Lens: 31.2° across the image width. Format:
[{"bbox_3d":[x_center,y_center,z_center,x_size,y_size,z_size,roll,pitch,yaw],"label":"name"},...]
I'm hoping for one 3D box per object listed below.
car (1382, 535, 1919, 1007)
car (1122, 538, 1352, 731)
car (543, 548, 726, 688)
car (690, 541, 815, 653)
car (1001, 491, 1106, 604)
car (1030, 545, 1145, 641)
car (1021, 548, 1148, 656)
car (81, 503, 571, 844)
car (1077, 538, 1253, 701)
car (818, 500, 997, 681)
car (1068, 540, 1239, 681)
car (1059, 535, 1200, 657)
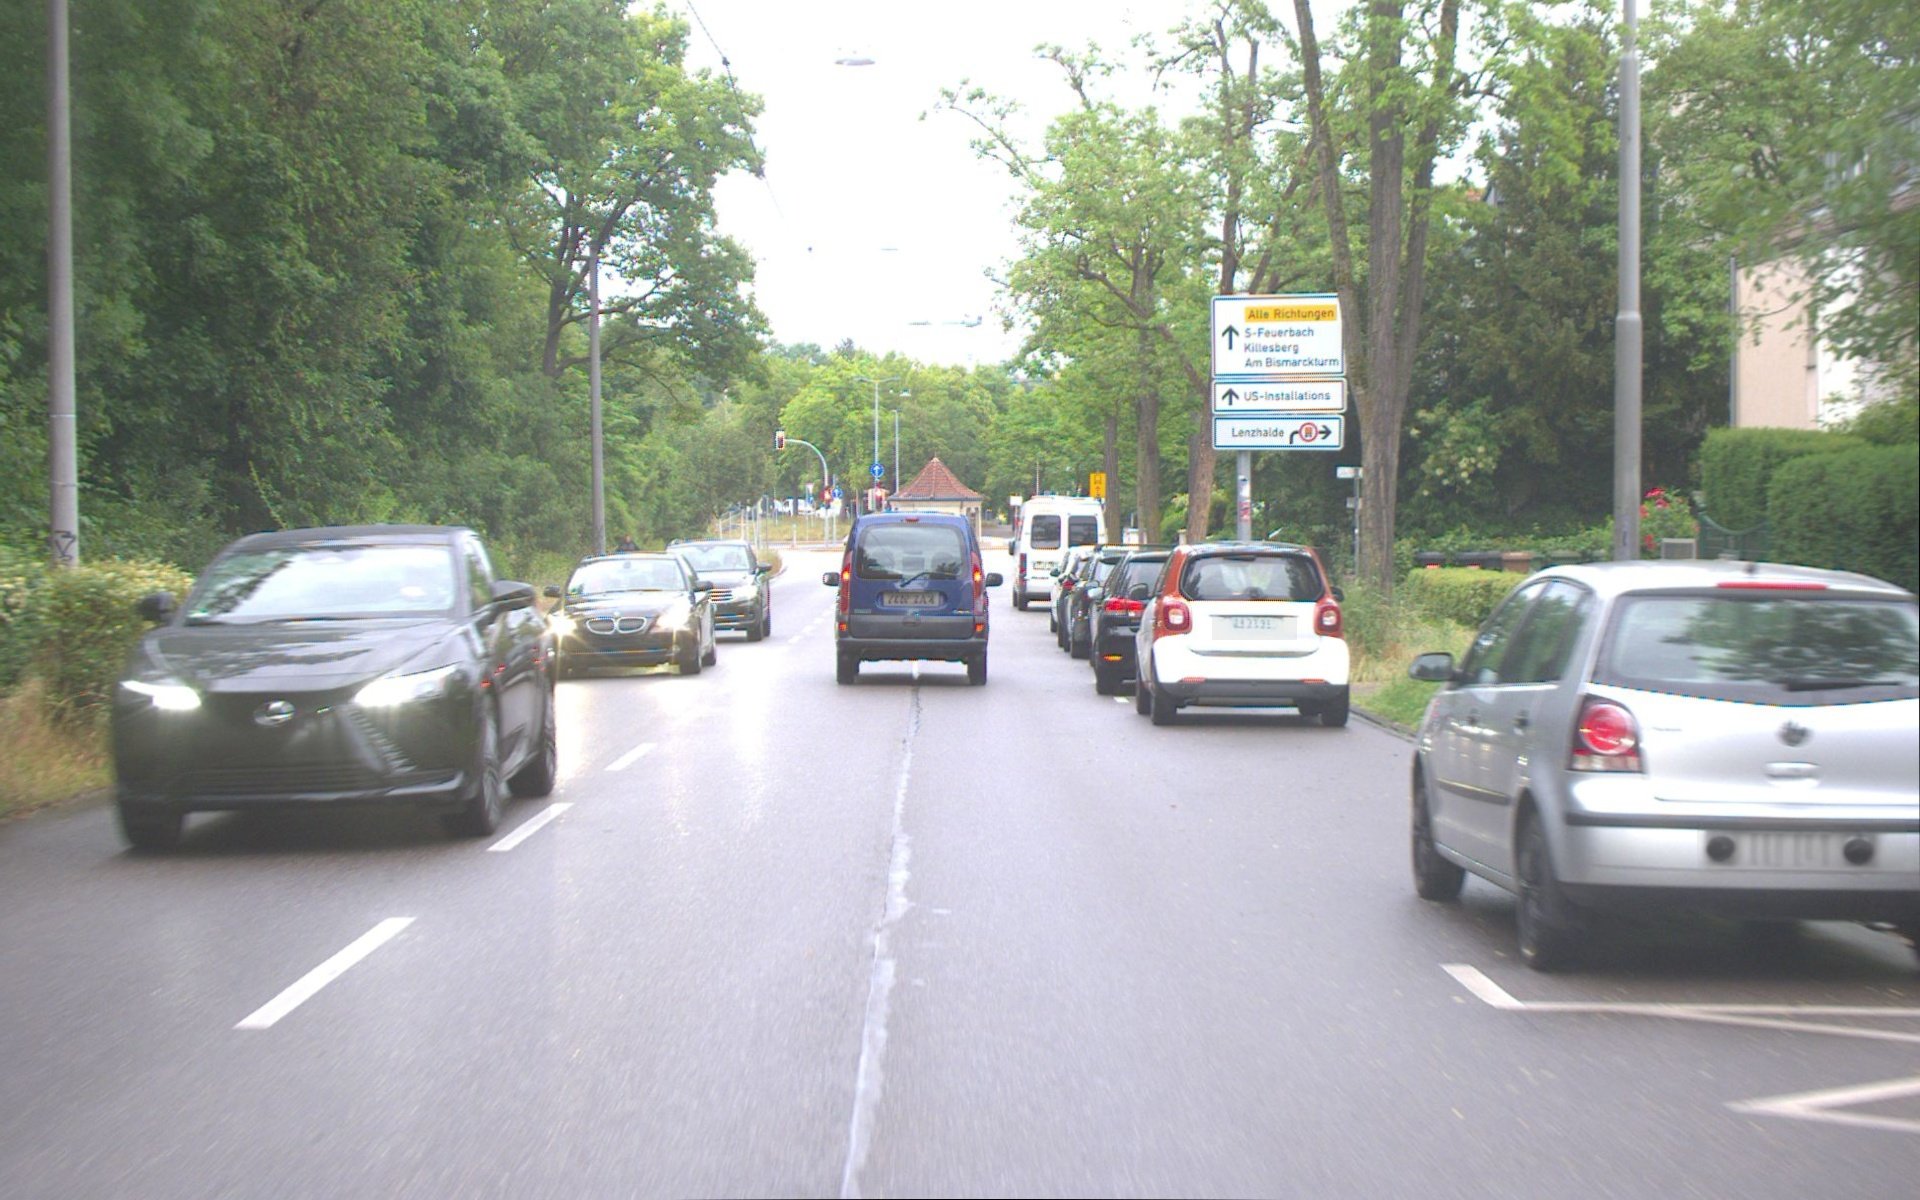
[{"bbox_3d":[2.768,0.544,13.448,1.618,1.503,3.835,1,2,-2],"label":"car"},{"bbox_3d":[2.333,0.259,29.617,1.633,1.504,2.958,1,2,-2],"label":"car"},{"bbox_3d":[-3.869,0.168,41.625,1.728,1.437,5.113,-2,2,0],"label":"car"},{"bbox_3d":[-3.279,-0.086,54.918,1.723,1.610,4.155,-1,2,0],"label":"car"},{"bbox_3d":[2.058,-1.178,76.942,2.205,2.441,4.729,0,1,0],"label":"car"},{"bbox_3d":[2.143,-0.143,58.662,1.698,1.519,3.868,1,1,-1],"label":"car"},{"bbox_3d":[1.859,0.000,52.345,1.698,1.519,3.868,1,1,-1],"label":"car"},{"bbox_3d":[-3.279,0.290,18.640,1.804,1.541,4.432,-2,2,0],"label":"car"},{"bbox_3d":[2.096,0.155,35.900,1.698,1.519,3.867,1,2,2],"label":"car"},{"bbox_3d":[-0.618,-0.143,37.452,1.766,1.824,3.543,1,2,-3],"label":"car"},{"bbox_3d":[2.232,0.087,40.562,1.698,1.519,3.868,1,1,-1],"label":"car"},{"bbox_3d":[2.253,-0.095,46.525,1.698,1.519,4.211,1,1,0],"label":"car"}]
